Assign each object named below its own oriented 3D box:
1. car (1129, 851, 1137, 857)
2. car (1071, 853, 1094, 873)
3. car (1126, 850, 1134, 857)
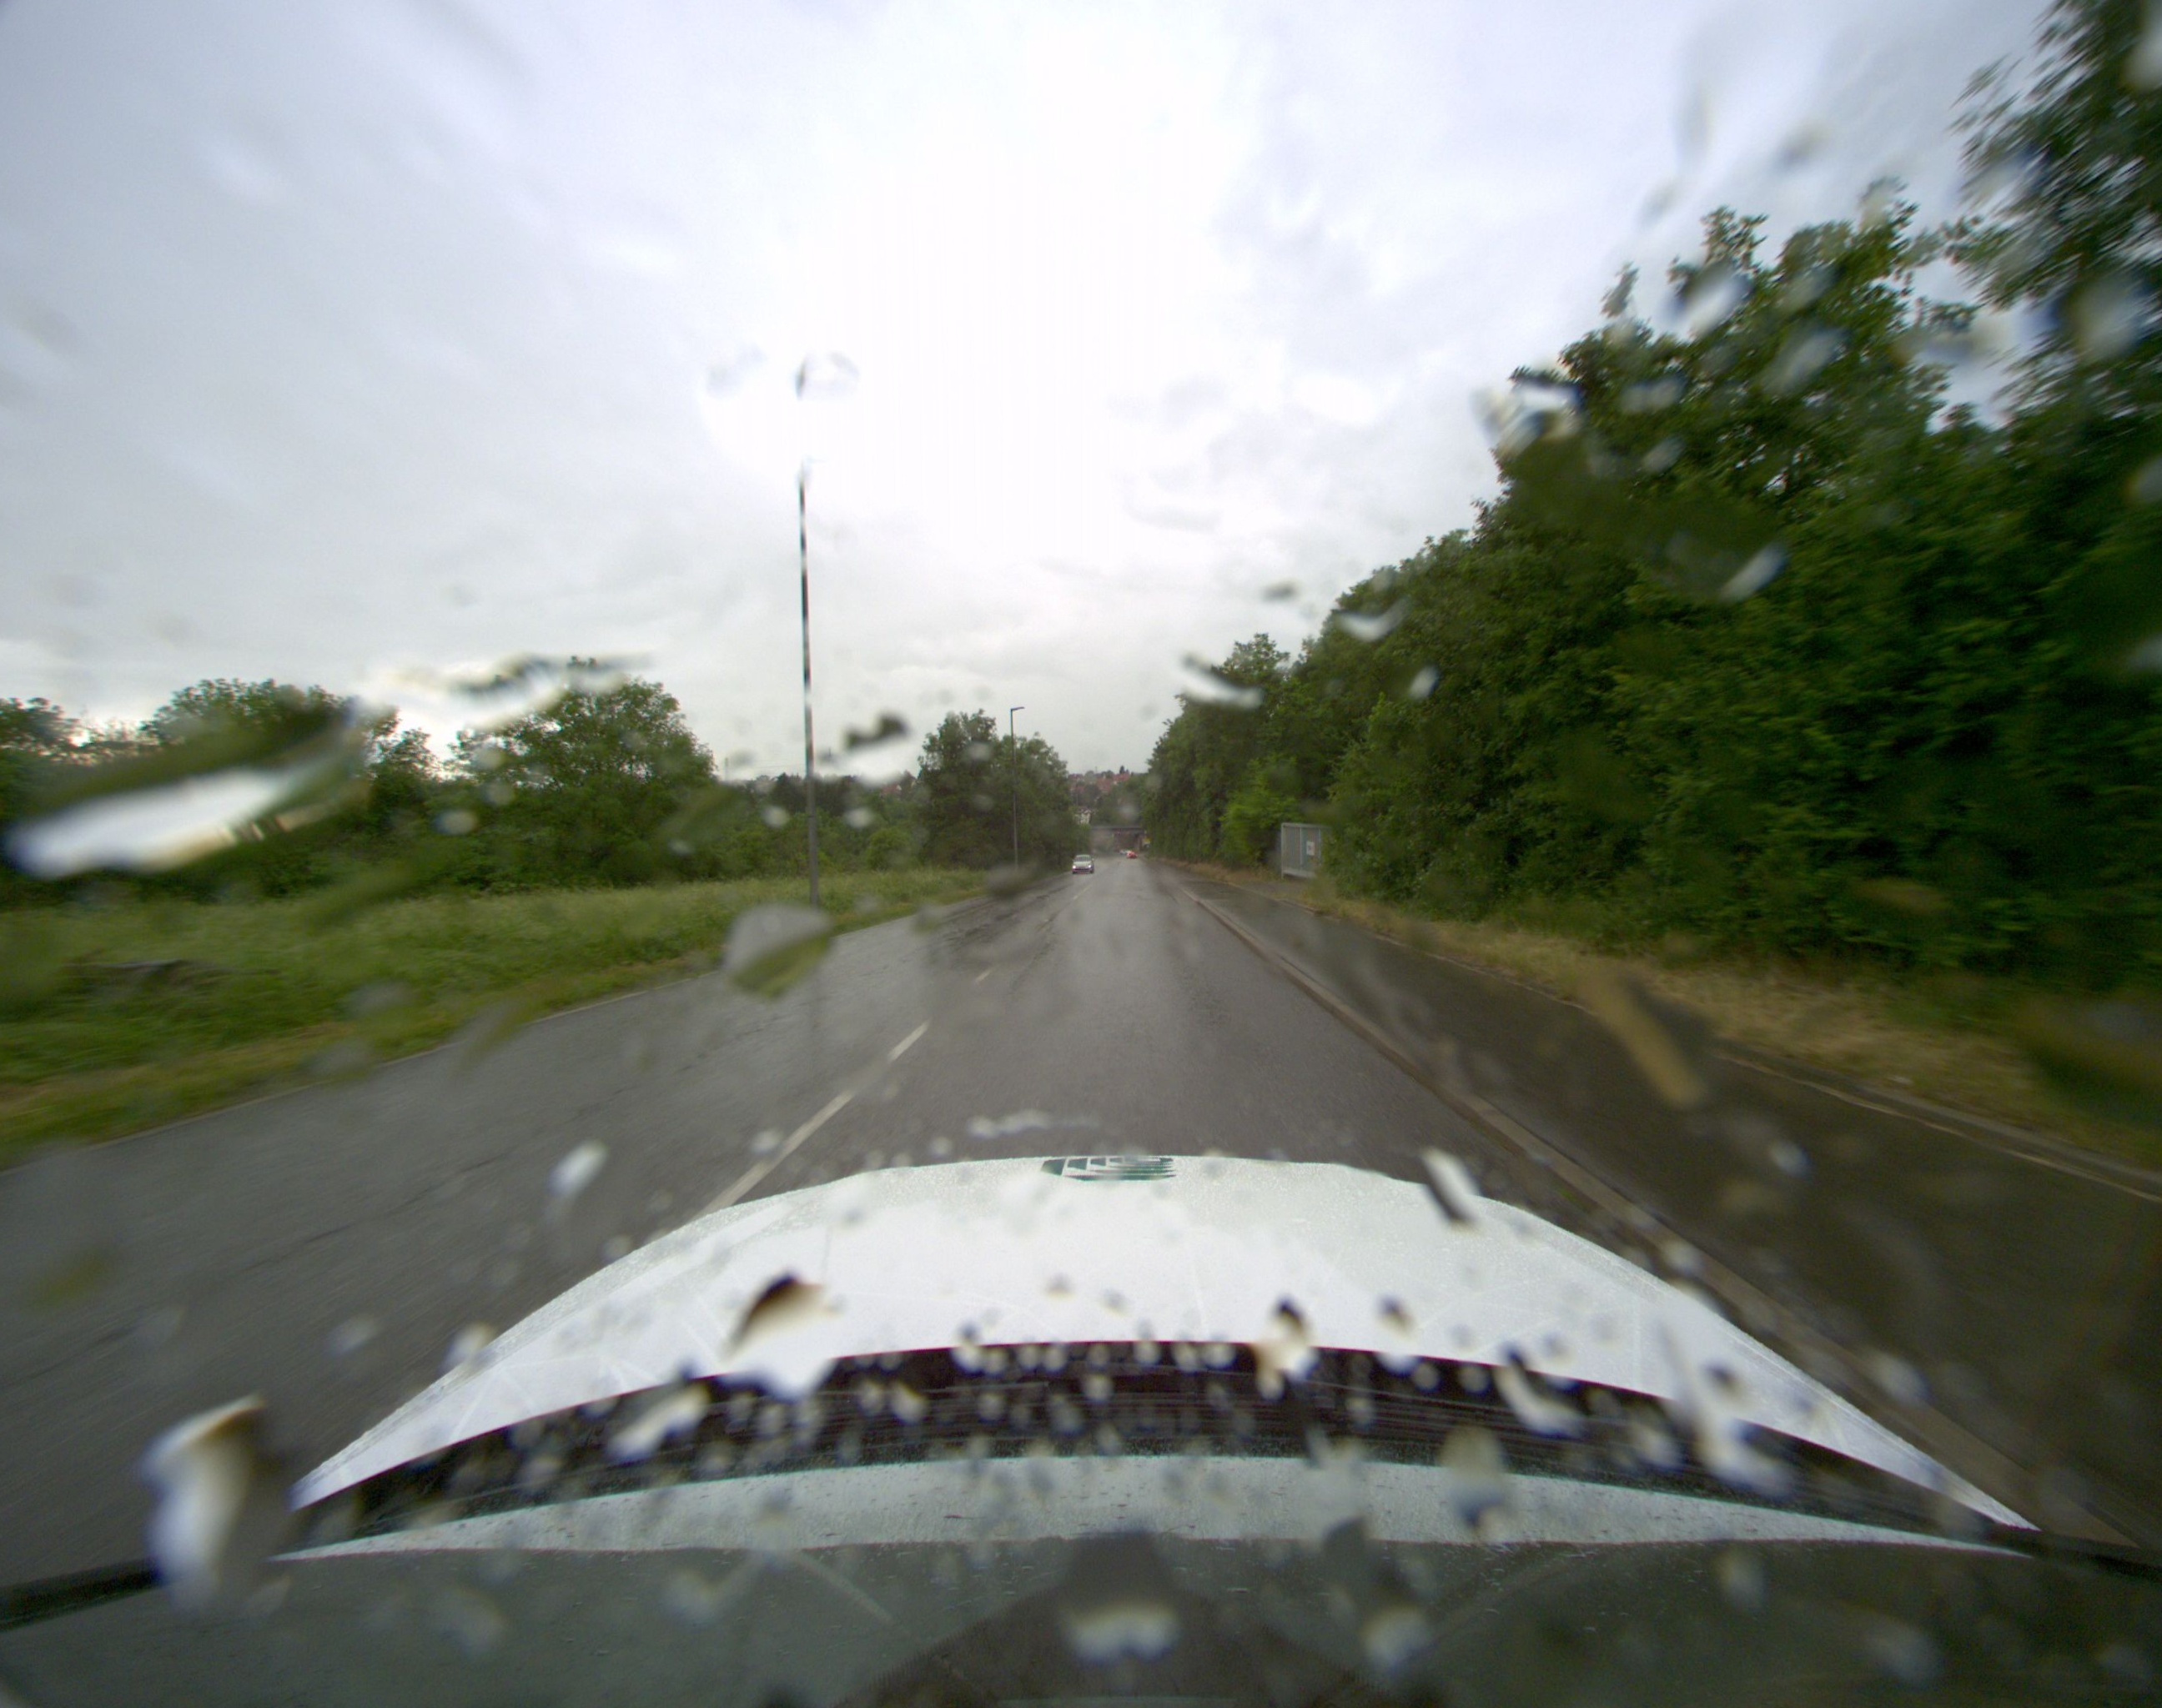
[{"bbox_3d":[12.711,0.061,197.649,1.760,1.380,4.004,-3,0,4],"label":"car"},{"bbox_3d":[0.129,0.678,65.712,1.632,1.488,3.456,-3,0,2],"label":"car"},{"bbox_3d":[12.267,-0.067,204.283,1.760,1.563,4.004,-3,0,4],"label":"car"}]
